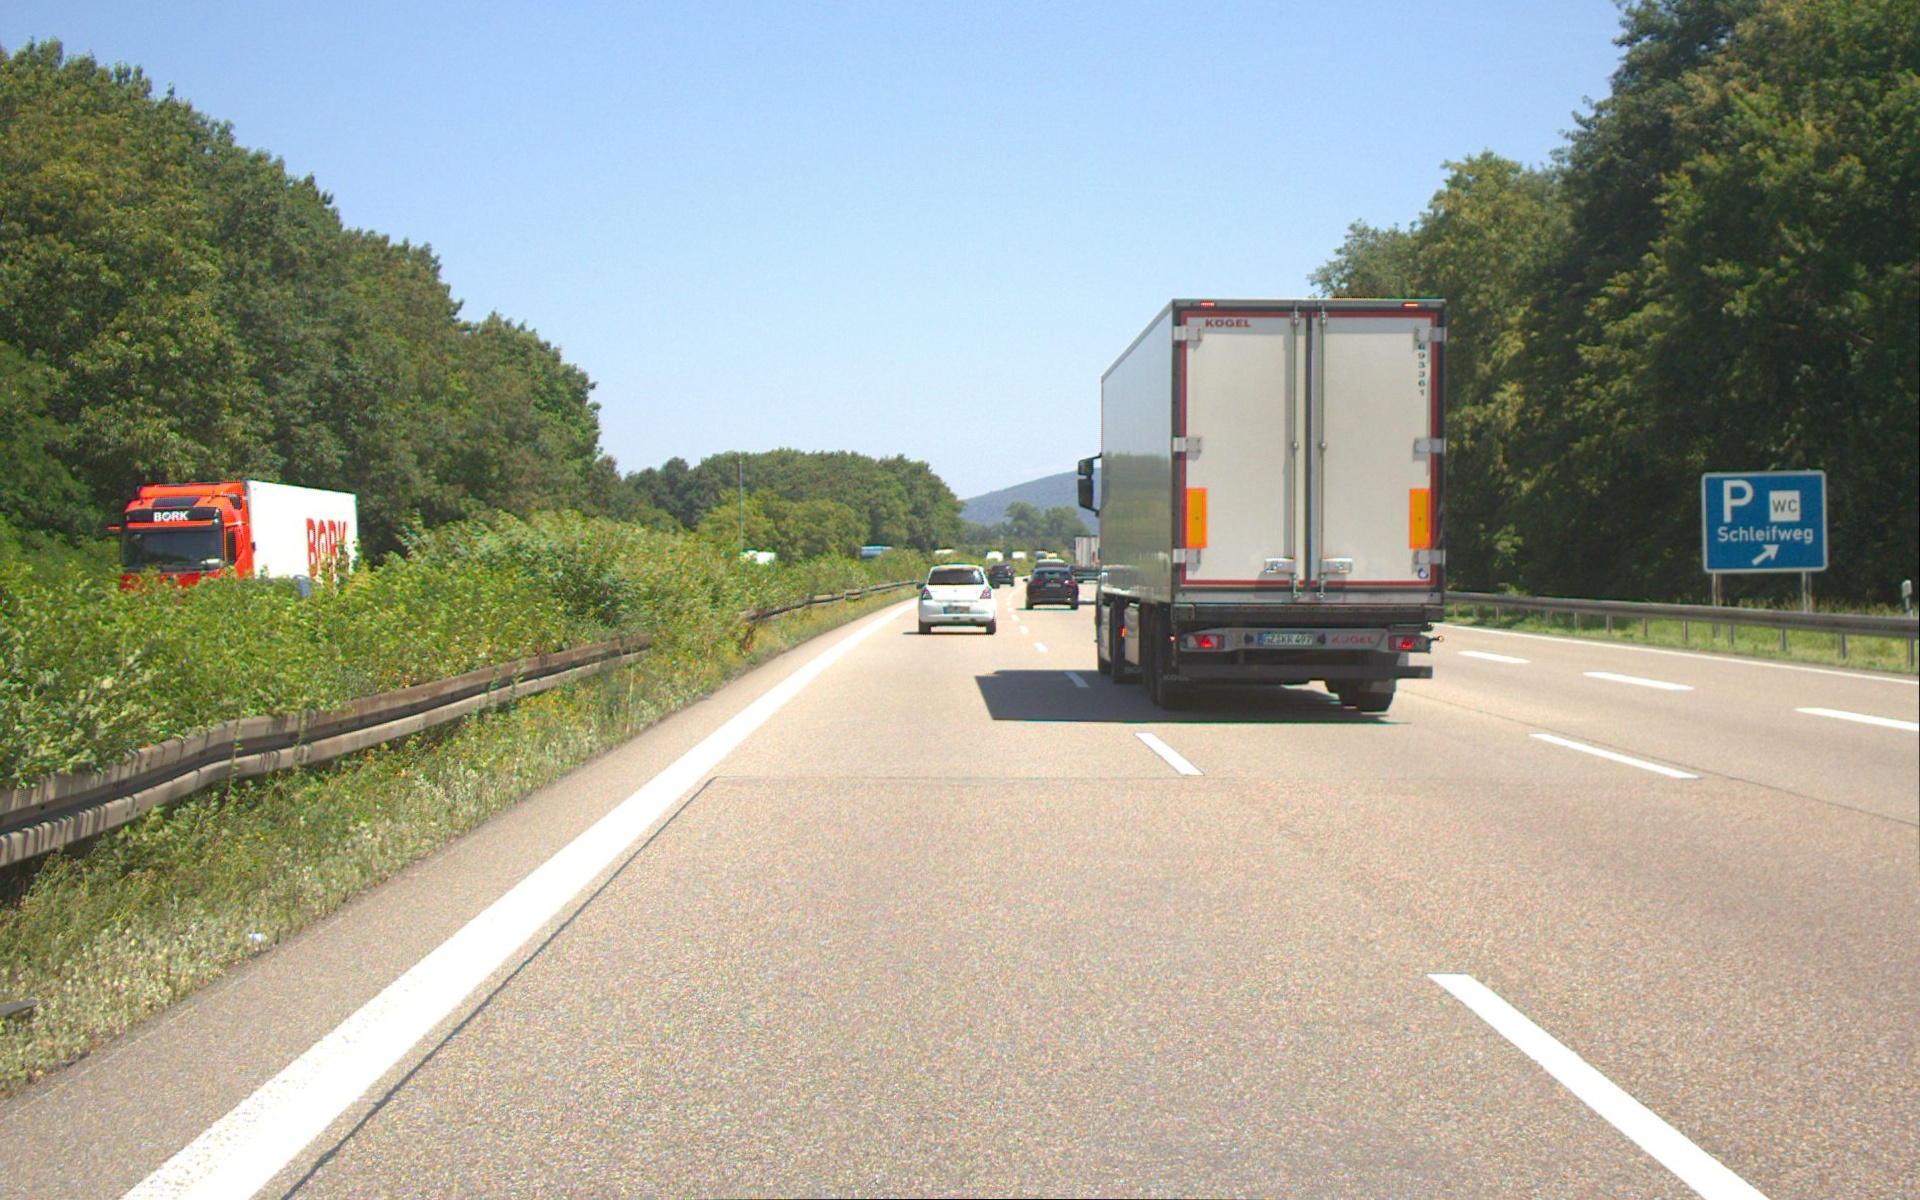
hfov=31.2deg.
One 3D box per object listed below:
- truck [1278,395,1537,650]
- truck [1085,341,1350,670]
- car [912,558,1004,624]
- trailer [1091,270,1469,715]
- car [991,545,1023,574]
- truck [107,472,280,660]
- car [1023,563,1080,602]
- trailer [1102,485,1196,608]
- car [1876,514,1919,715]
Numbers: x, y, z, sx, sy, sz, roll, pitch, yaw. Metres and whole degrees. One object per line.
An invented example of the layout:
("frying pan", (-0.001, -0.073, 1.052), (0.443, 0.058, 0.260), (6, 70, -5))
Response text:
("truck", (8.150, -1.412, 64.150), (3.223, 4.330, 10.808), (-1, 1, -1))
("truck", (3.350, -1.234, 45.937), (3.229, 4.143, 4.559), (-1, 1, 1))
("car", (-0.068, -0.224, 75.938), (1.811, 1.400, 3.318), (-1, 1, -3))
("trailer", (3.231, -1.102, 38.375), (3.223, 4.129, 12.351), (-1, 1, 1))
("car", (3.330, -2.910, 246.117), (2.107, 2.007, 4.000), (0, 1, -2))
("truck", (-16.909, -0.764, 76.064), (2.920, 4.036, 4.295), (0, 1, -1))
("car", (3.167, -0.602, 118.489), (1.668, 1.285, 3.999), (0, 1, 6))
("trailer", (7.401, -2.108, 136.237), (3.182, 4.611, 12.050), (0, 1, 1))
("car", (10.582, 0.142, 33.832), (1.993, 2.007, 4.000), (0, 1, -1))
